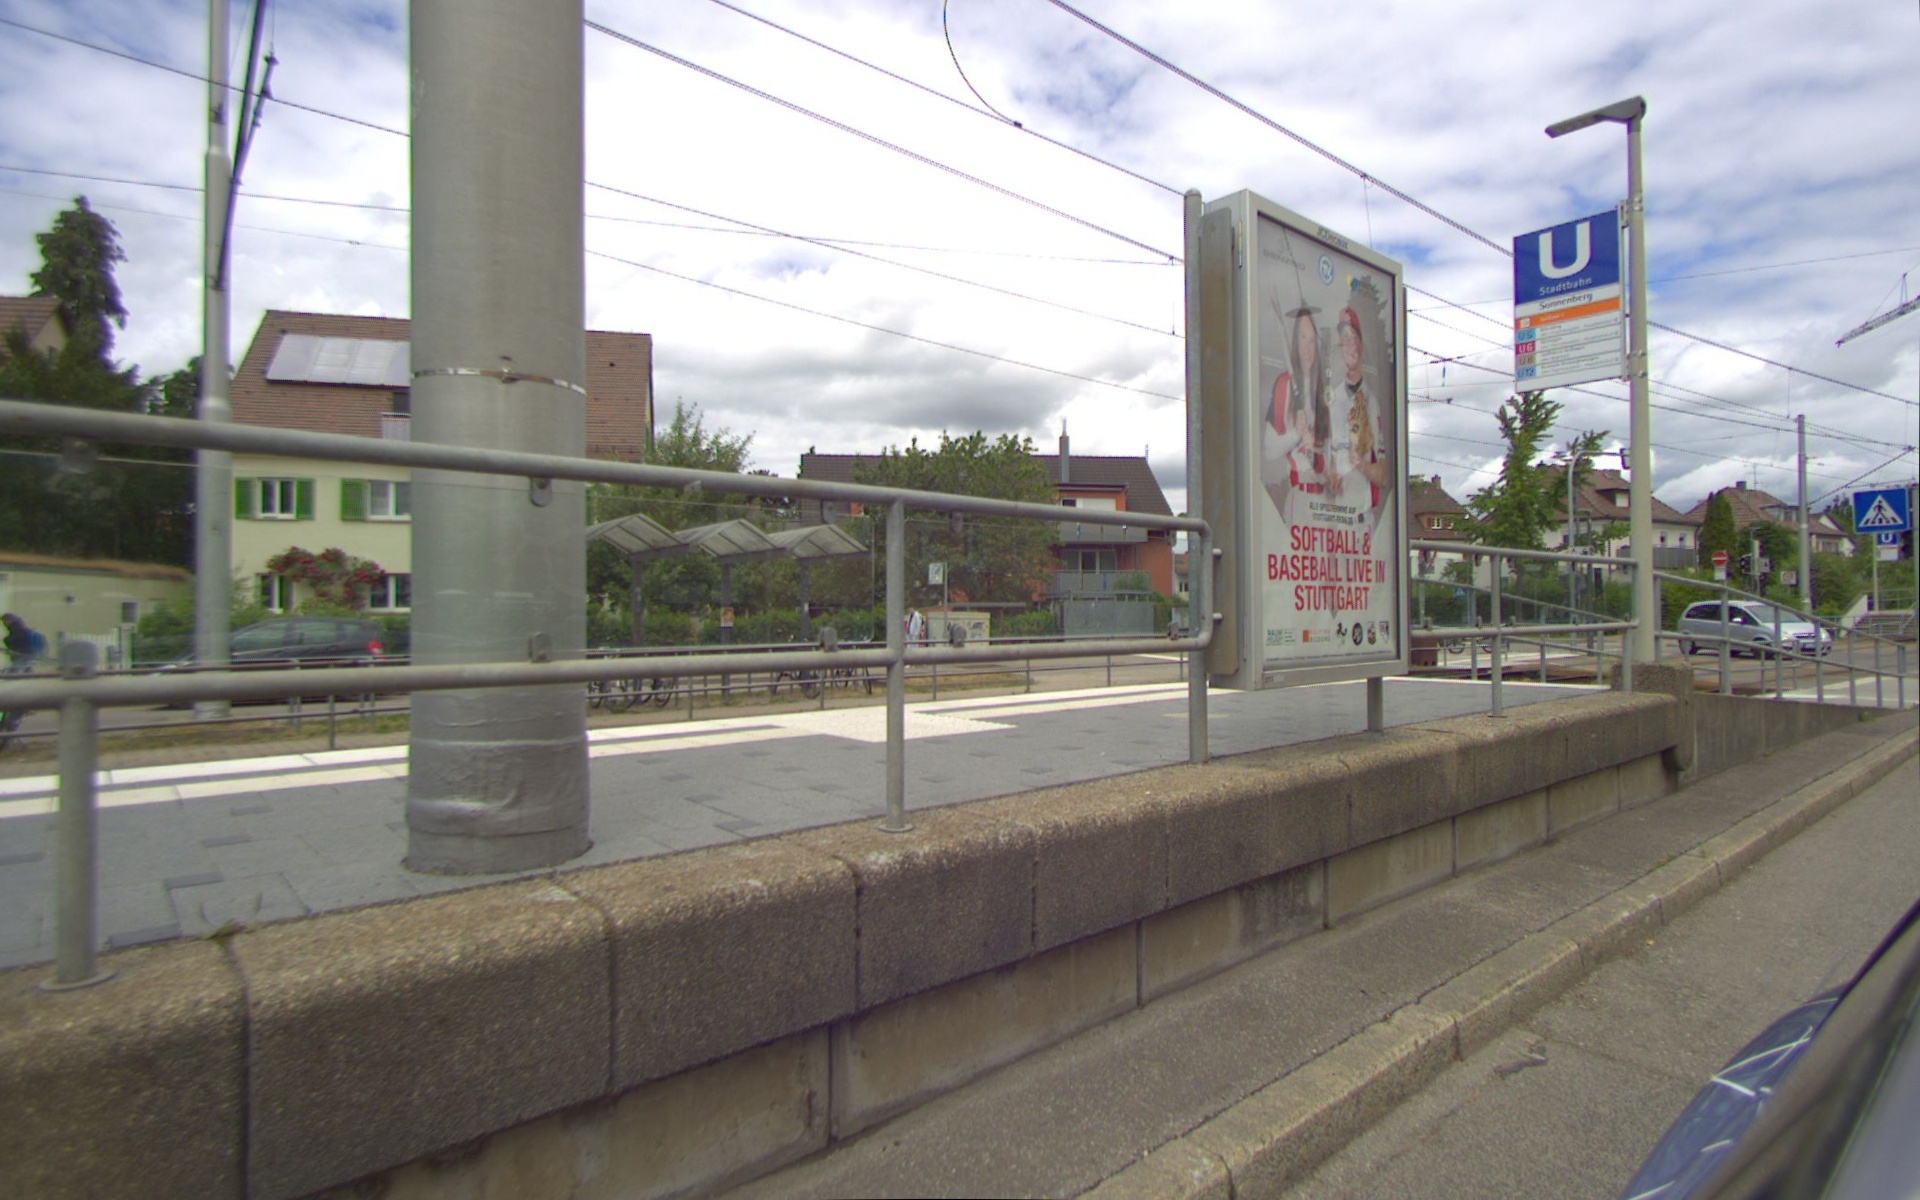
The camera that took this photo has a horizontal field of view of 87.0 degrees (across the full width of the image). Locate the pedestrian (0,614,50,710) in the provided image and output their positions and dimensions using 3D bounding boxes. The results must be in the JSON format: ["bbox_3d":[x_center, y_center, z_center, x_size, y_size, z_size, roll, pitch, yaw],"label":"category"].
[{"bbox_3d":[-17.449,1.131,18.705,0.932,1.707,0.809,0,-1,-42],"label":"pedestrian"}]

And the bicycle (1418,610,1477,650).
[{"bbox_3d":[14.820,0.909,30.754,1.657,1.170,0.467,0,-1,-14],"label":"bicycle"}]

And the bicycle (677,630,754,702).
[{"bbox_3d":[-3.891,1.006,16.018,0.546,1.055,1.770,0,-1,-35],"label":"bicycle"}]

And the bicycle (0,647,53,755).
[{"bbox_3d":[-10.212,1.051,10.923,0.548,1.055,1.765,0,-1,-45],"label":"bicycle"}]

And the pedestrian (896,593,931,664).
[{"bbox_3d":[-1.290,0.784,28.212,0.620,1.939,0.822,-1,-2,30],"label":"pedestrian"}]

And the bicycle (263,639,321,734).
[{"bbox_3d":[-8.356,1.038,12.640,0.546,1.055,1.770,0,-1,-35],"label":"bicycle"}]

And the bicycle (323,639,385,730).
[{"bbox_3d":[-7.815,1.044,13.017,0.546,1.055,1.770,0,-1,-35],"label":"bicycle"}]

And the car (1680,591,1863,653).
[{"bbox_3d":[22.758,0.612,28.592,1.692,1.588,3.930,-1,-1,-6],"label":"car"}]

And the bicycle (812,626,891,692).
[{"bbox_3d":[-1.886,0.982,17.396,0.546,1.055,1.770,0,-1,-35],"label":"bicycle"}]

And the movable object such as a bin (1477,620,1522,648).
[{"bbox_3d":[16.351,1.026,30.676,1.072,0.835,0.580,-1,-1,-10],"label":"movable object such as a bin"}]

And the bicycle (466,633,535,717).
[{"bbox_3d":[-6.411,1.008,14.085,0.546,1.055,1.770,0,-1,-35],"label":"bicycle"}]

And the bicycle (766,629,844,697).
[{"bbox_3d":[-2.601,1.014,16.872,0.546,1.055,1.770,0,-1,-35],"label":"bicycle"}]

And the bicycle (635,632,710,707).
[{"bbox_3d":[-4.453,1.037,15.602,0.546,1.055,1.770,0,-1,-35],"label":"bicycle"}]

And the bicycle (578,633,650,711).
[{"bbox_3d":[-5.187,1.040,15.110,0.546,1.055,1.770,0,-1,-35],"label":"bicycle"}]

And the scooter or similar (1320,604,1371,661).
[{"bbox_3d":[9.177,0.769,24.091,0.480,1.333,1.051,1,-2,-34],"label":"scooter or similar"}]

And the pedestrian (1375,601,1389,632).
[{"bbox_3d":[22.662,0.892,54.381,0.592,1.640,0.672,-4,-2,25],"label":"pedestrian"}]

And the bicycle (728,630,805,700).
[{"bbox_3d":[-3.170,1.026,16.455,0.546,1.055,1.770,0,-1,-35],"label":"bicycle"}]

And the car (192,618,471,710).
[{"bbox_3d":[-11.812,1.139,19.319,4.333,1.505,1.823,-1,-1,-30],"label":"car"}]
